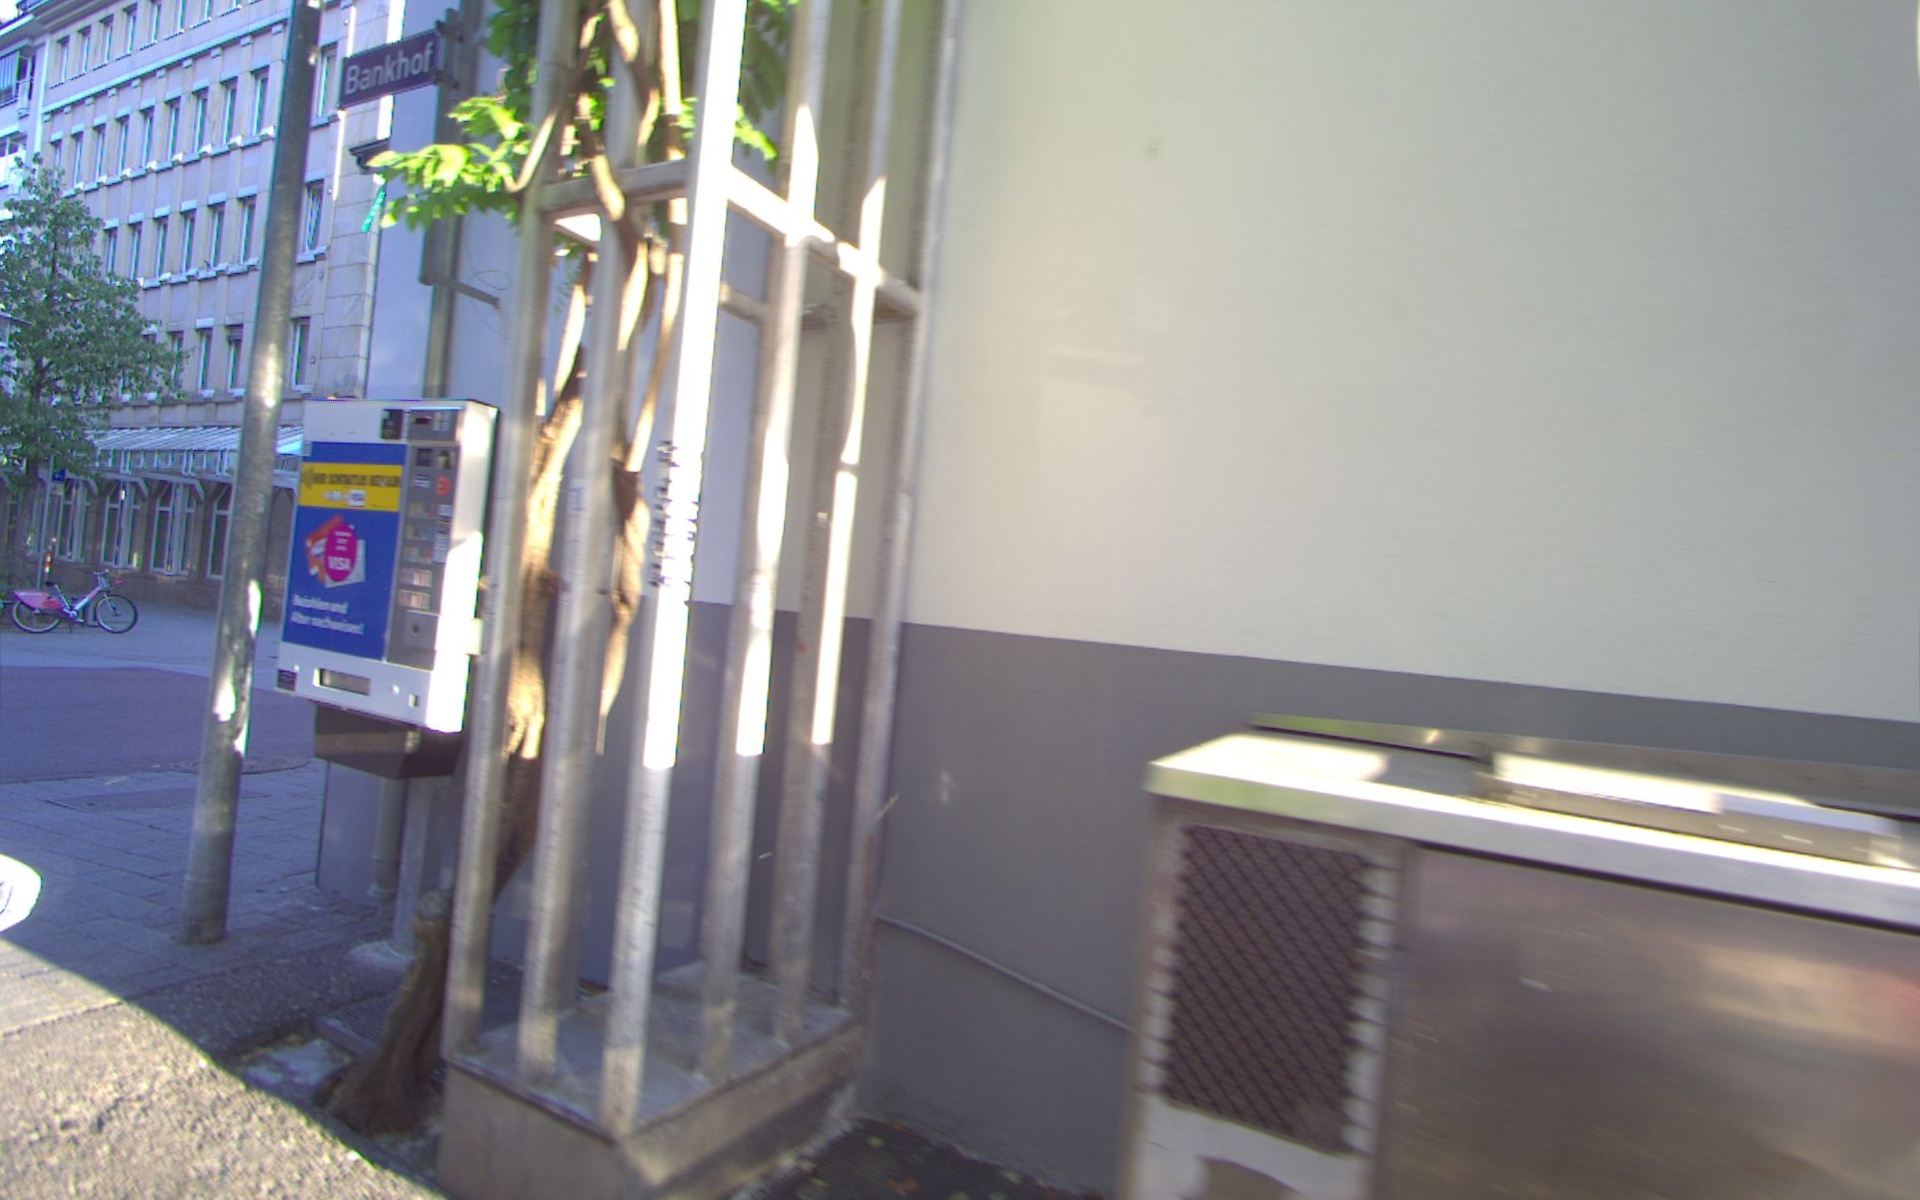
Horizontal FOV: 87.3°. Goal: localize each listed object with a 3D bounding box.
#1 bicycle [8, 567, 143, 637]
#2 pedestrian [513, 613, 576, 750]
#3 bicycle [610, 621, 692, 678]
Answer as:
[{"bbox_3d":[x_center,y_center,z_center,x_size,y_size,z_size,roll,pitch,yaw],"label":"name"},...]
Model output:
[{"bbox_3d":[-14.693,0.049,16.740,1.649,1.065,0.654,2,3,-44],"label":"bicycle"},{"bbox_3d":[-3.644,0.707,8.813,0.405,1.138,0.470,5,0,-25],"label":"pedestrian"},{"bbox_3d":[-7.161,1.140,23.260,1.915,1.064,0.543,7,1,29],"label":"bicycle"}]
